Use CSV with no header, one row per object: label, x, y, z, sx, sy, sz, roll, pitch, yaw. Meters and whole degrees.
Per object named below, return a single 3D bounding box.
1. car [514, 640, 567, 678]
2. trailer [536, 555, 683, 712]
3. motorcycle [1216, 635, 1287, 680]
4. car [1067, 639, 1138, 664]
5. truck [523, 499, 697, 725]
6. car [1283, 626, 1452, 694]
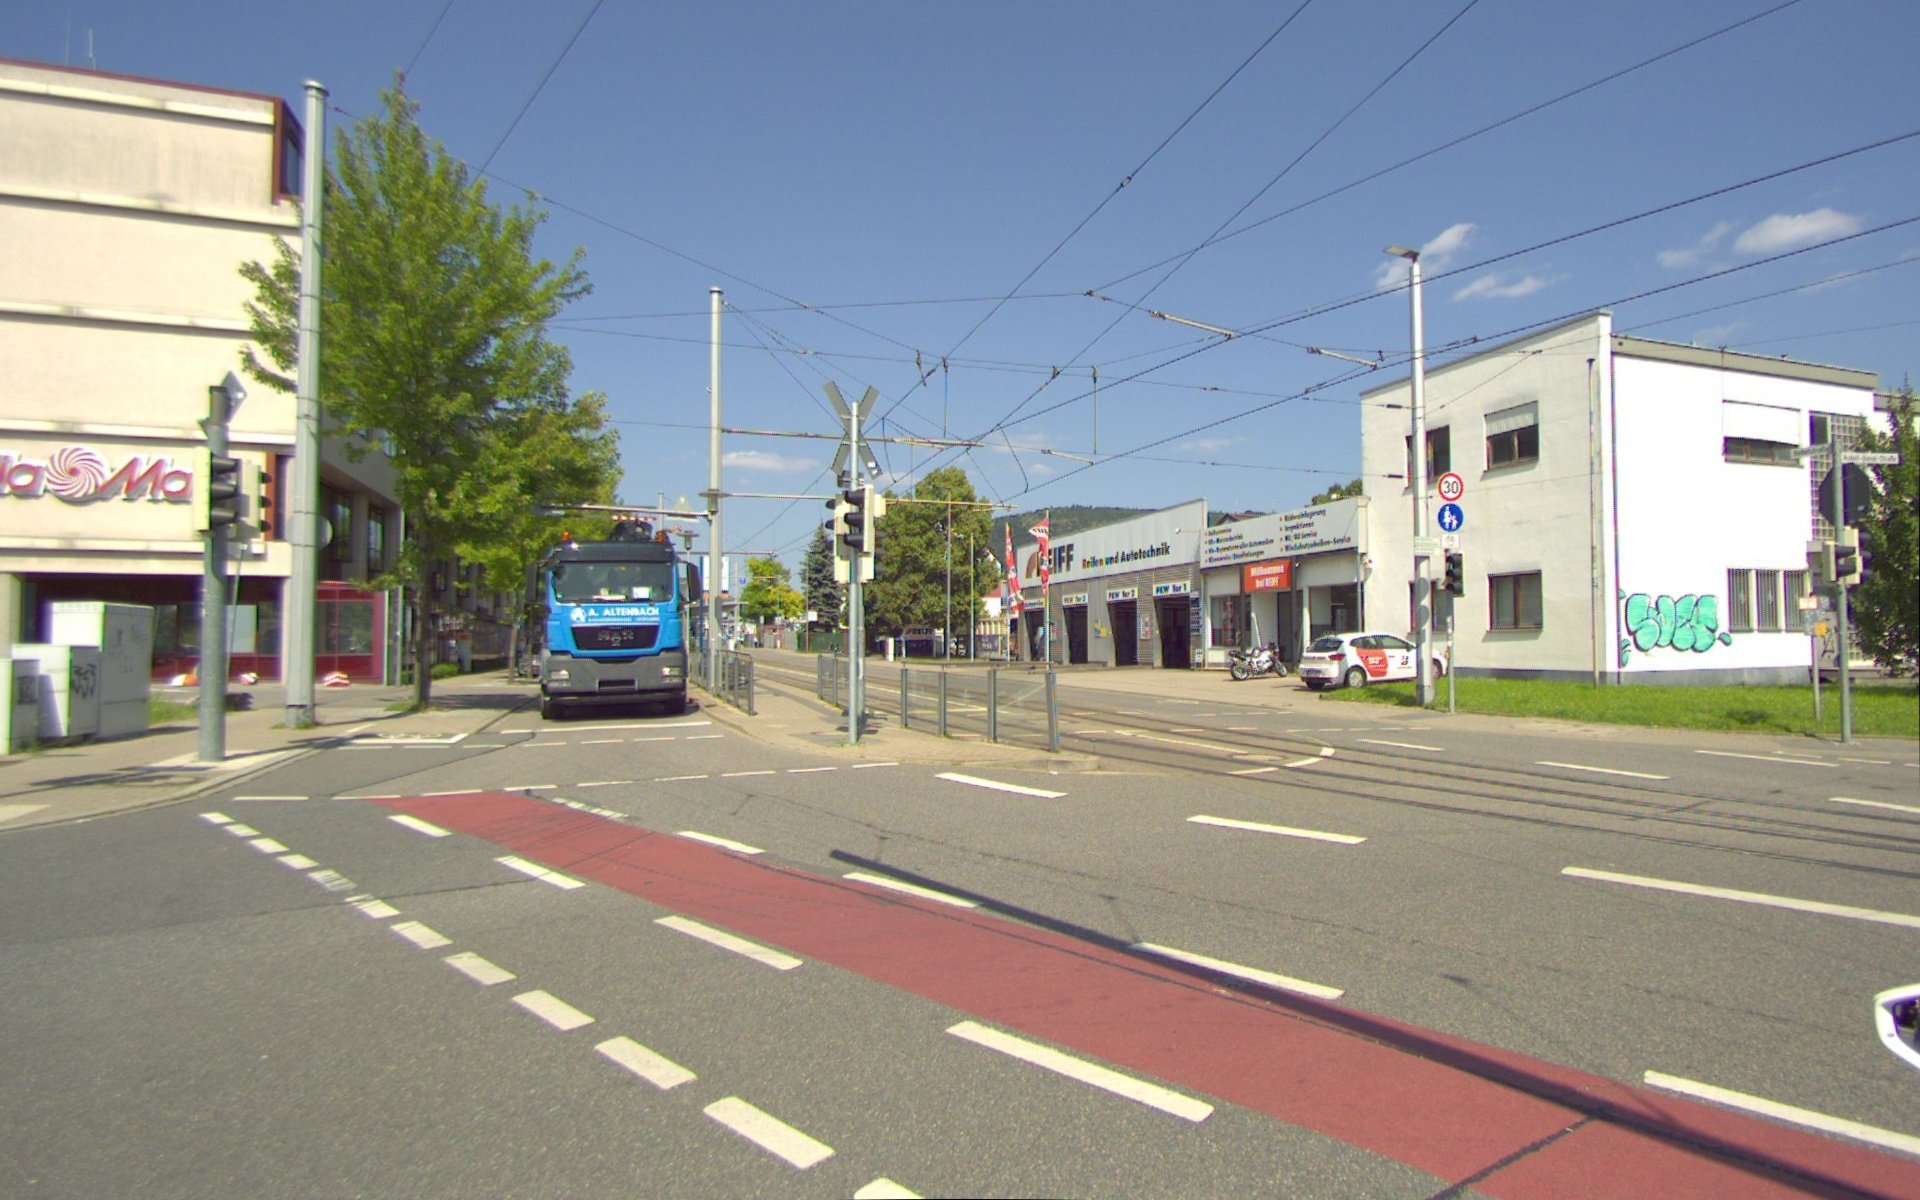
car,-17.878,2.500,42.980,1.701,1.482,3.890,2,-3,-17
trailer,-7.982,0.763,22.974,2.710,3.017,6.869,0,-2,-19
motorcycle,9.417,1.846,32.442,2.157,1.325,0.728,-3,-2,-21
car,8.218,2.926,57.941,3.721,1.394,1.716,1,-2,-24
truck,-6.623,0.288,19.125,2.710,3.656,5.018,0,-2,-20
car,10.917,1.582,26.937,3.940,1.482,1.881,-3,-1,-21
